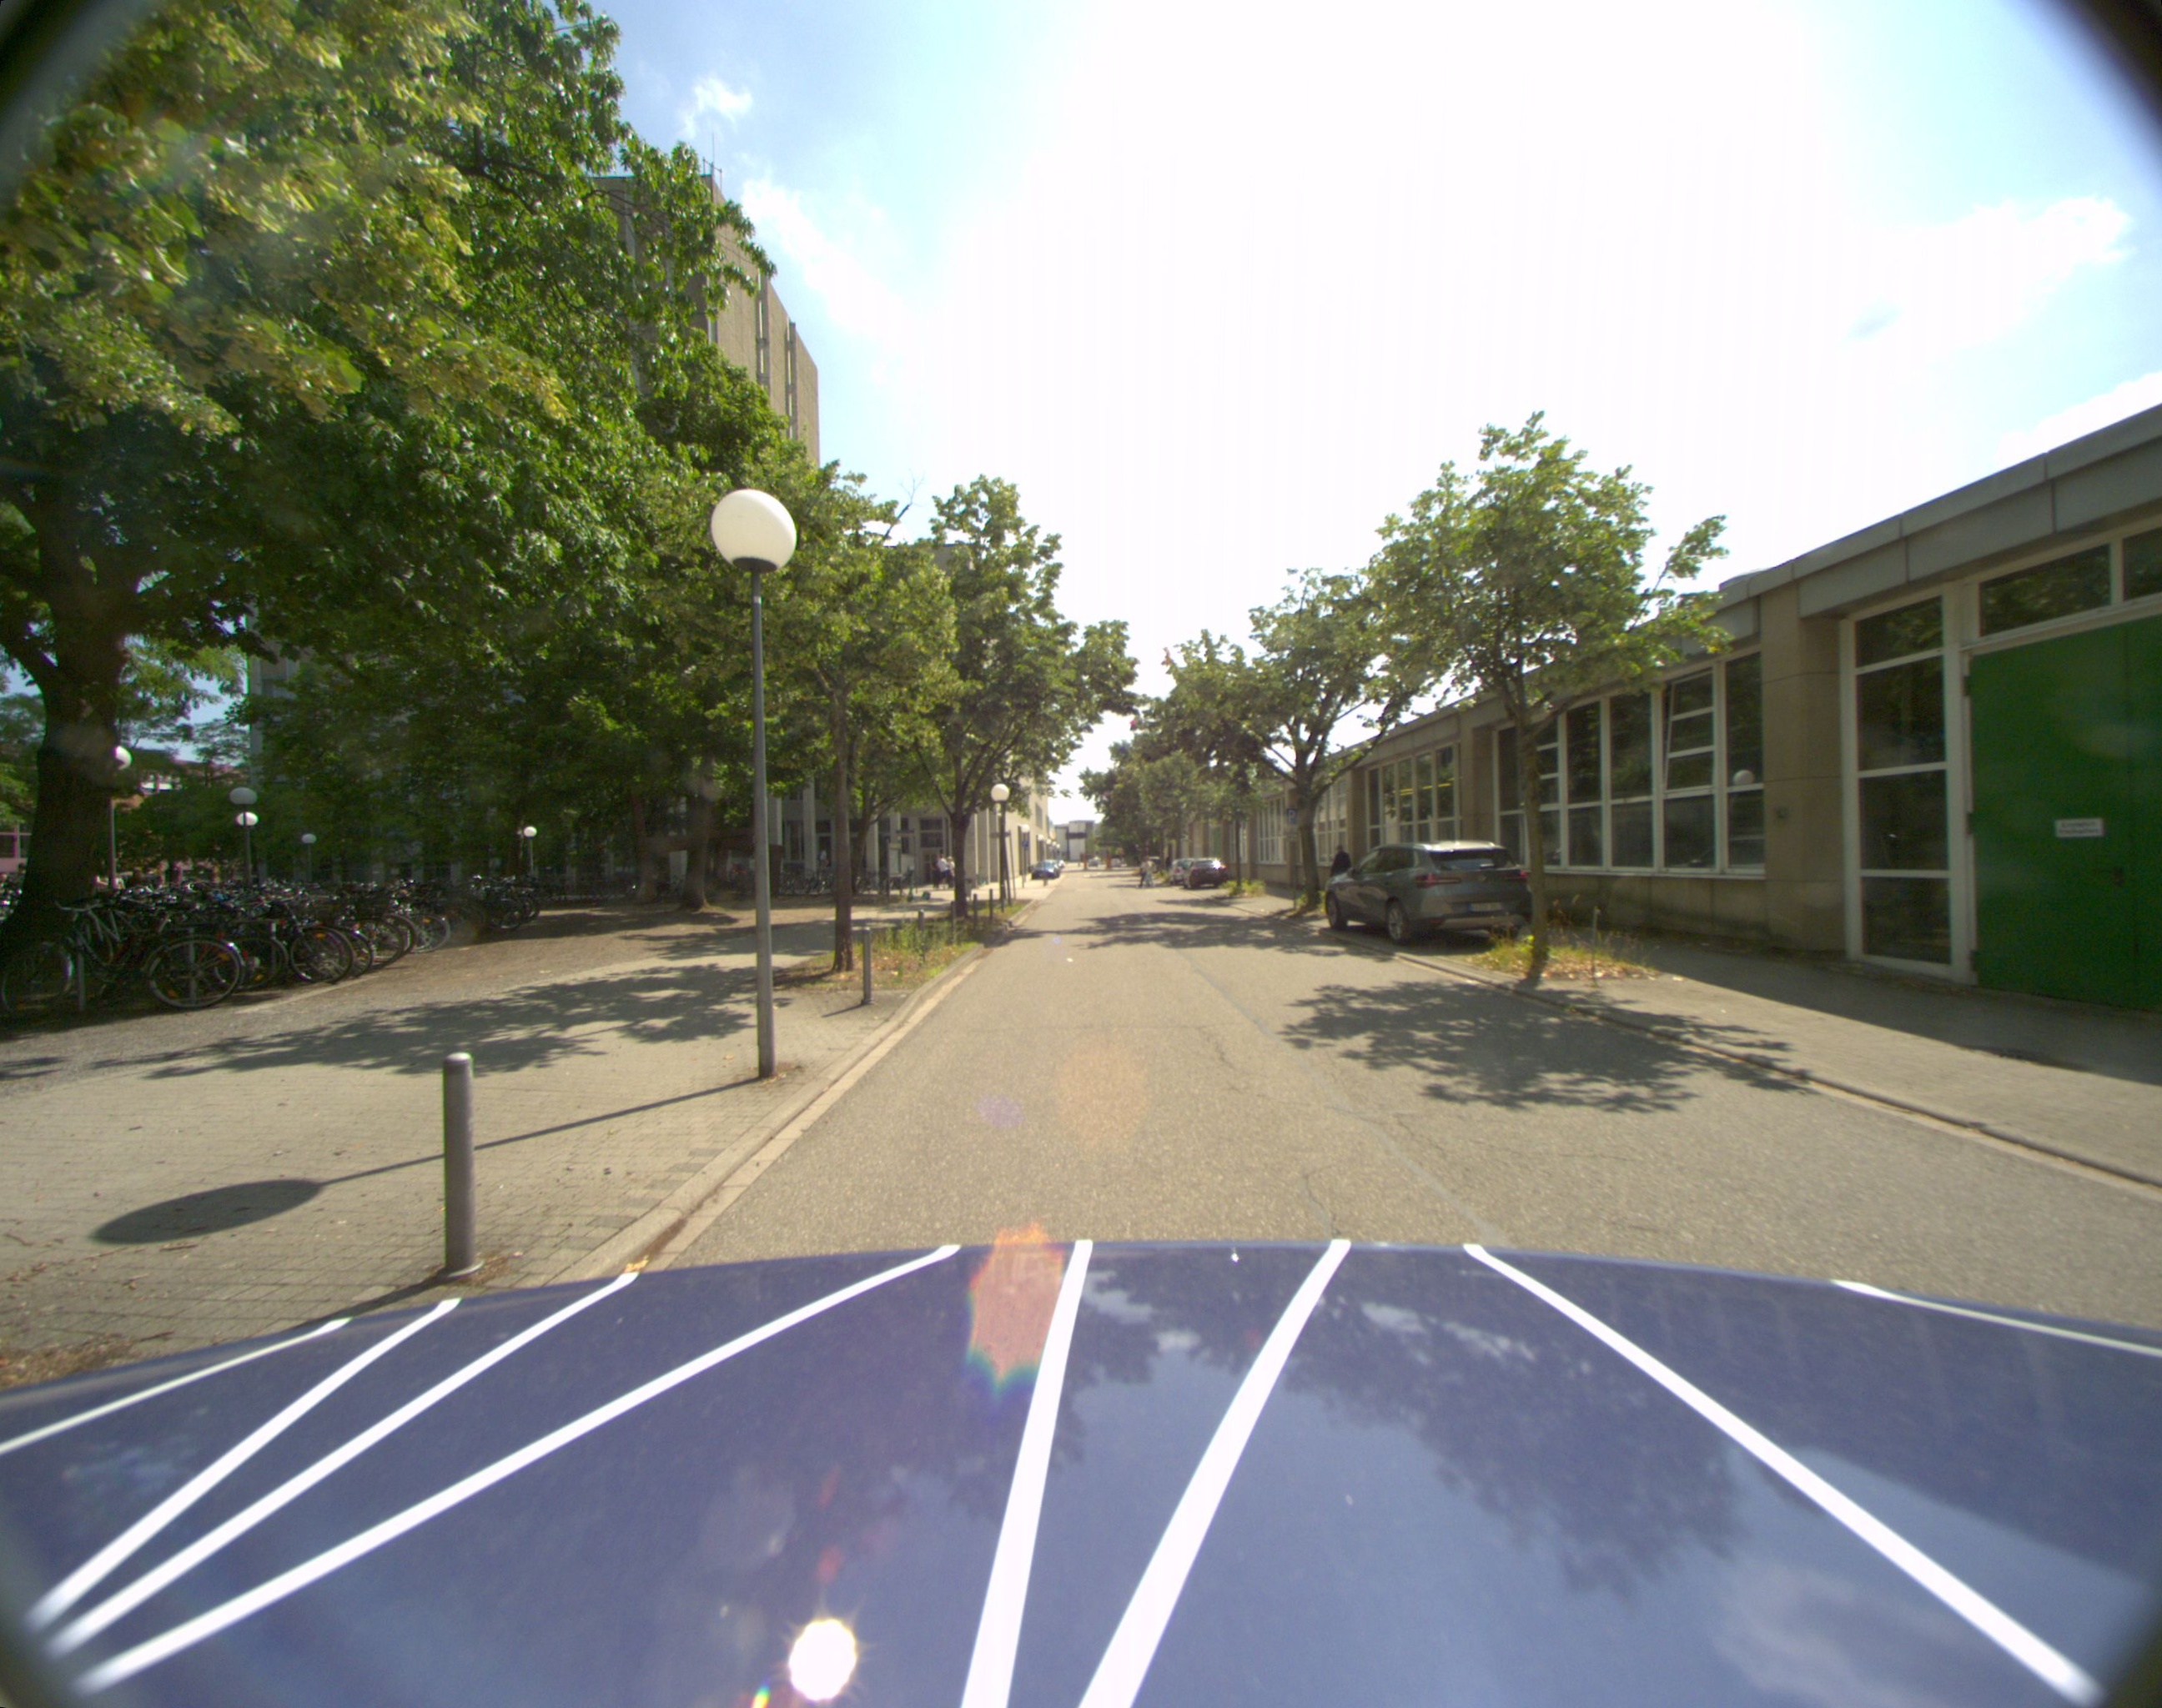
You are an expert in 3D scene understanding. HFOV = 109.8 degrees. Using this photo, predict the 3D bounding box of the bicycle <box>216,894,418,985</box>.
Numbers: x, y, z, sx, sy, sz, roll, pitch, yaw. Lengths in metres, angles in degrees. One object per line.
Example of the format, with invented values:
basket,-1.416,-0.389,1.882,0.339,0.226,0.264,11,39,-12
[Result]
bicycle,-9.895,1.090,9.894,1.950,1.076,0.404,-1,0,-11

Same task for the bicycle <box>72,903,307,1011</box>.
bicycle,-9.769,1.110,8.377,1.773,1.076,0.438,-1,0,-11

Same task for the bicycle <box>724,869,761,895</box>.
bicycle,-13.998,1.158,31.480,0.463,1.071,1.829,0,-2,8

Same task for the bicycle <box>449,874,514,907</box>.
bicycle,-22.410,1.352,28.432,1.849,1.163,0.345,-1,0,-44

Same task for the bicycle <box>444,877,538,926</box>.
bicycle,-14.917,1.185,19.260,1.848,1.163,0.344,-1,0,-33

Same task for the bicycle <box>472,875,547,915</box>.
bicycle,-17.949,1.277,23.899,1.849,1.163,0.352,-1,0,-36

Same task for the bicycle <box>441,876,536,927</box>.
bicycle,-14.738,1.162,18.955,1.848,1.163,0.344,-1,0,-33

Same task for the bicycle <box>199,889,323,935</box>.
bicycle,-18.814,1.315,17.481,1.907,0.973,0.378,0,1,-30

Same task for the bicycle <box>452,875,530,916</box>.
bicycle,-17.778,1.225,22.932,1.849,1.163,0.352,-1,0,-36

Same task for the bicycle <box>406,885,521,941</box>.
bicycle,-12.792,1.197,15.796,1.796,1.063,0.425,-1,0,-30

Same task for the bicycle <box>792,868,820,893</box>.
bicycle,-12.285,1.176,34.019,0.481,1.079,1.697,0,-2,6

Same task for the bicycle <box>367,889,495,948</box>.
bicycle,-12.318,1.201,14.462,1.796,1.022,0.381,-1,0,-31

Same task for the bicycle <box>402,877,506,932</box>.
bicycle,-14.378,1.146,17.481,1.796,1.163,0.401,-1,0,-33

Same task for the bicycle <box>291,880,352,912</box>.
bicycle,-28.153,1.557,28.182,0.477,1.077,1.475,-4,-1,33

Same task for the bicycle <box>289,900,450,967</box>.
bicycle,-10.988,1.209,11.808,1.741,0.904,0.493,-1,0,-29

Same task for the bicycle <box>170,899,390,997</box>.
bicycle,-9.665,1.112,9.221,1.950,1.076,0.404,-1,0,-11

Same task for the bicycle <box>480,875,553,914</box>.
bicycle,-18.032,1.281,24.314,1.849,1.163,0.387,-1,0,-36

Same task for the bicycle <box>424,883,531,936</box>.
bicycle,-13.351,1.208,16.861,1.796,1.063,0.425,-1,0,-28

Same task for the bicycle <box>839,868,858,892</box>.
bicycle,-10.554,1.191,34.536,0.460,1.079,1.440,1,-1,-2

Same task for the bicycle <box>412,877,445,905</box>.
bicycle,-26.835,1.511,31.275,0.353,1.077,1.470,-1,0,-12

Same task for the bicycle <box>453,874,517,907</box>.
bicycle,-22.553,1.367,28.778,1.849,1.163,0.345,-1,0,-44

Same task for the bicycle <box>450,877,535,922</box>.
bicycle,-16.375,1.247,21.175,1.849,1.163,0.344,-1,0,-36

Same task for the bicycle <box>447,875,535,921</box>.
bicycle,-15.976,1.184,20.620,1.849,1.163,0.344,-1,0,-37

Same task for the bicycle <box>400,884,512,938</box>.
bicycle,-13.409,1.198,16.364,1.796,1.063,0.425,-1,0,-28

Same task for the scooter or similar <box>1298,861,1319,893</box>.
scooter or similar,8.850,0.875,29.577,0.383,1.200,1.246,-3,-1,-1

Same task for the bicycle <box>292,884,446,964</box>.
bicycle,-11.345,1.091,12.180,1.742,1.148,0.493,-1,0,-36

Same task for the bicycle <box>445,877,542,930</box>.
bicycle,-14.035,1.163,18.194,1.796,1.163,0.401,-1,0,-33

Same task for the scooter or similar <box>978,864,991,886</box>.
scooter or similar,-5.613,1.196,44.156,0.564,1.204,1.510,1,0,-1

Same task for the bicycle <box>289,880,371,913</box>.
bicycle,-24.649,1.382,24.983,1.908,0.973,0.477,0,0,-44

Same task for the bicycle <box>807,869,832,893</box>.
bicycle,-11.790,1.219,34.302,0.481,1.079,1.516,0,-1,6

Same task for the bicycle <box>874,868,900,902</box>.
bicycle,-7.088,1.105,27.674,0.629,1.078,1.684,-3,3,-22

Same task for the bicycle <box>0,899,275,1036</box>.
bicycle,-9.194,1.052,7.260,2.021,1.160,0.651,-1,0,-11

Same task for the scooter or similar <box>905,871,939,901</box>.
scooter or similar,-5.891,1.176,28.179,0.496,1.107,1.365,-1,-1,25

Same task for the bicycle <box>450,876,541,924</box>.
bicycle,-15.388,1.183,20.007,0.344,1.163,1.849,-1,0,43

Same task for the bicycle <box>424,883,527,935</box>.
bicycle,-13.773,1.234,17.332,1.796,1.063,0.425,-1,0,-35

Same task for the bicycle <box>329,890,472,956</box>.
bicycle,-11.827,1.180,13.282,1.800,1.022,0.439,-1,0,-32

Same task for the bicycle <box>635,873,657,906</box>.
bicycle,-15.503,1.253,27.075,0.476,1.103,1.666,-2,1,-36

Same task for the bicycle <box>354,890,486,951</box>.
bicycle,-12.218,1.210,14.105,1.796,1.022,0.381,-1,0,-32

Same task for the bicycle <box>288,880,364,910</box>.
bicycle,-27.254,1.465,27.459,1.907,0.973,0.477,0,0,-37

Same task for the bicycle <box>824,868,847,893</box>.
bicycle,-11.030,1.189,34.173,0.460,1.079,1.474,1,-1,2

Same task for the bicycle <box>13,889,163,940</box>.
bicycle,-20.792,1.252,15.962,1.907,0.973,0.378,0,1,-30

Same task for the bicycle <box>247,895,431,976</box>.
bicycle,-10.722,1.151,11.049,1.916,1.053,0.325,-1,0,-23

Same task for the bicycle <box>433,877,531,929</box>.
bicycle,-14.618,1.176,18.590,1.848,1.163,0.401,-1,0,-33

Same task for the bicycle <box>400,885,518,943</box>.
bicycle,-12.572,1.197,15.416,1.796,1.063,0.425,-1,0,-30

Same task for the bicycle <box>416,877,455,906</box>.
bicycle,-25.767,1.475,30.350,0.352,1.077,1.471,-1,0,-3

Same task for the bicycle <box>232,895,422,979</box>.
bicycle,-10.615,1.150,10.758,1.916,1.053,0.325,-1,0,-23

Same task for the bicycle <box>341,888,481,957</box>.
bicycle,-11.399,1.139,12.994,1.742,1.046,0.493,-1,0,-36

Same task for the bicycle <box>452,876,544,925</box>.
bicycle,-15.124,1.187,19.742,0.344,1.163,1.849,-1,0,43

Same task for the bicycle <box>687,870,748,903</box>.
bicycle,-13.306,1.165,27.837,1.928,1.103,0.631,-2,2,-36

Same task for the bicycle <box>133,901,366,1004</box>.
bicycle,-9.571,1.111,8.800,1.950,1.076,0.404,-1,0,-11

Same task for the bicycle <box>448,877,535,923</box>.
bicycle,-16.178,1.248,20.901,1.849,1.163,0.344,-1,0,-36

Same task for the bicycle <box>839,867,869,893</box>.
bicycle,-10.119,1.169,33.910,0.491,1.134,1.529,0,-2,20
